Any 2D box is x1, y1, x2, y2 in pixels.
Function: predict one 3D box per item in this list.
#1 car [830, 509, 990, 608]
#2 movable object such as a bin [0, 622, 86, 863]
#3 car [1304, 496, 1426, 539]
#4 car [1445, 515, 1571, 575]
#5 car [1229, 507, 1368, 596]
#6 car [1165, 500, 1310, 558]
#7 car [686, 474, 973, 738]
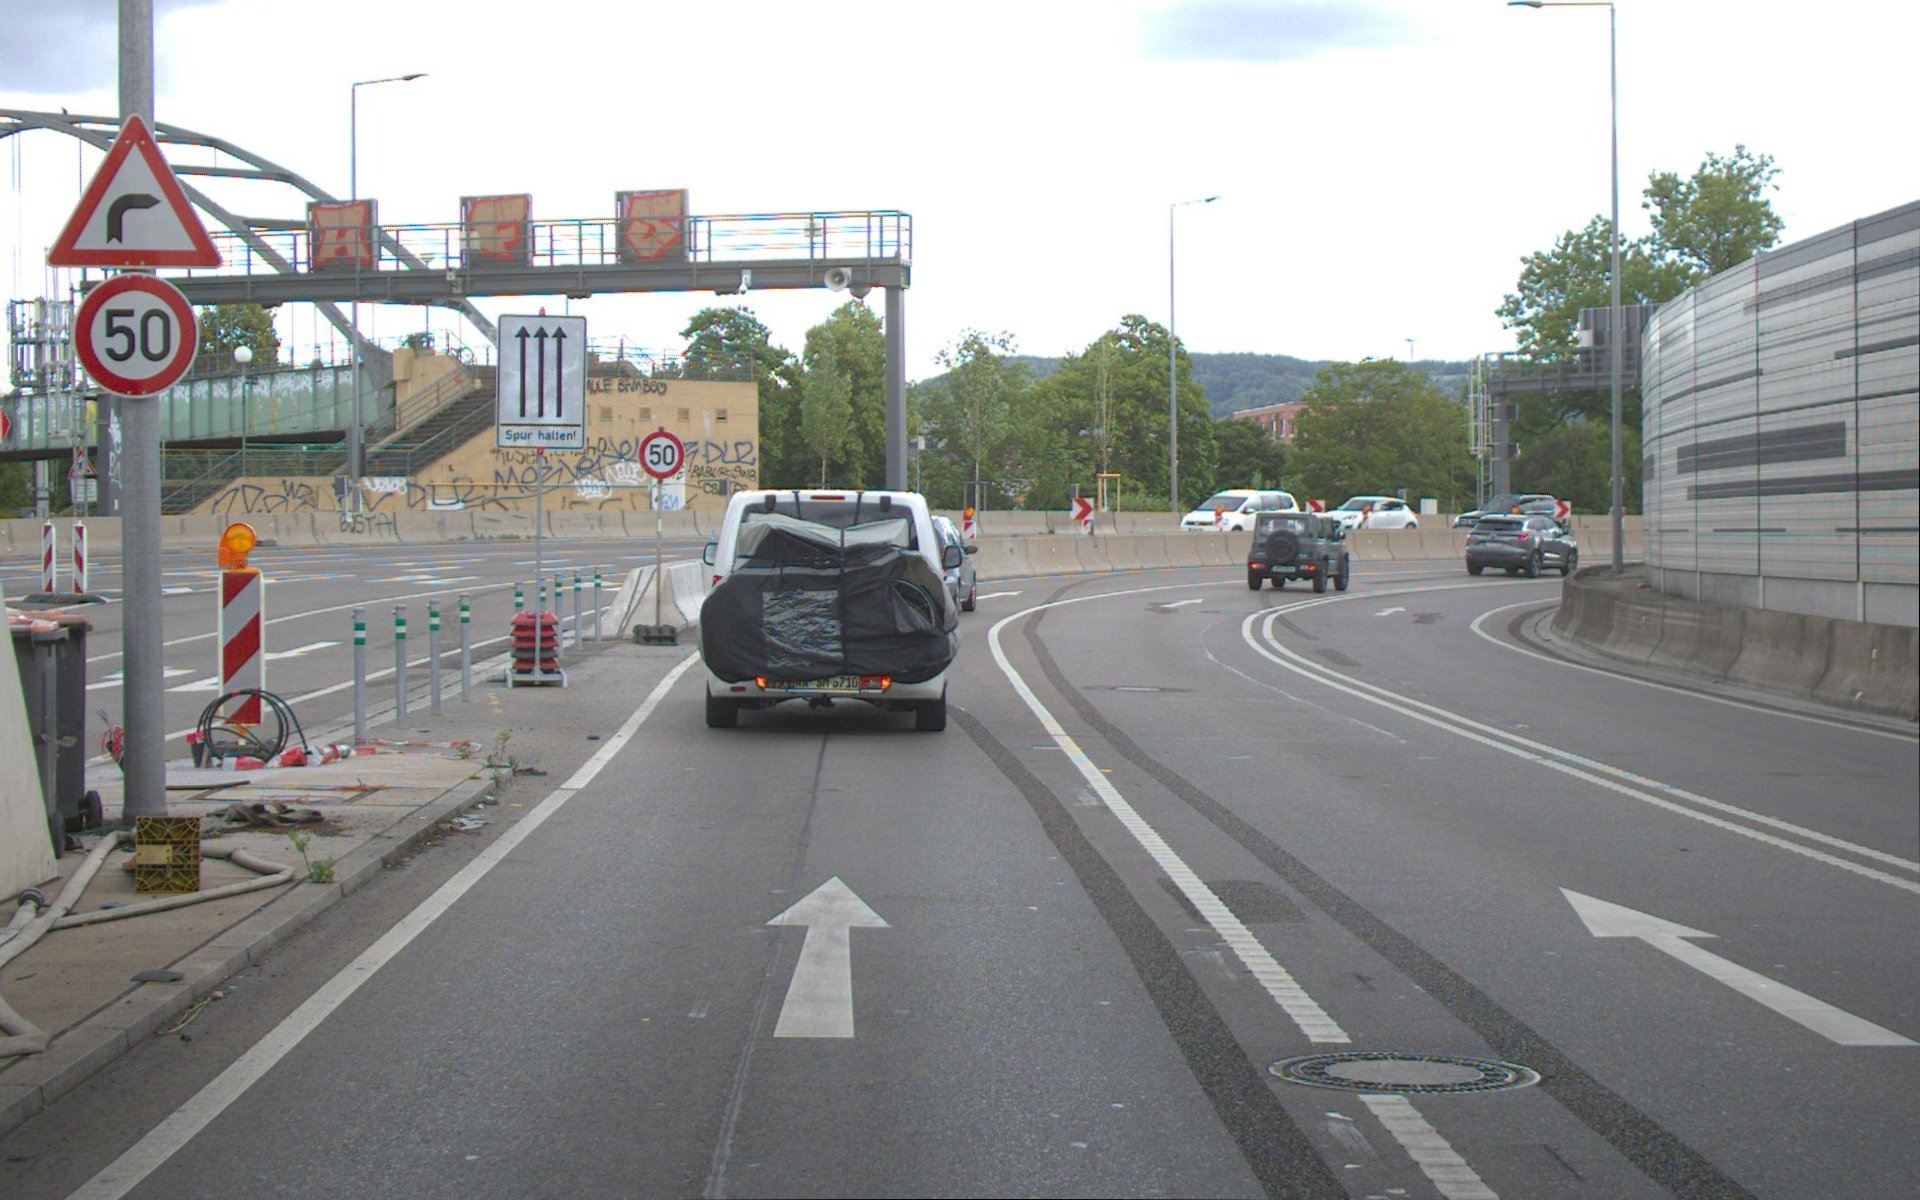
[{"bbox_3d":[-0.760,-0.694,55.118,1.921,1.483,4.064,1,2,8],"label":"car"},{"bbox_3d":[-4.113,0.605,14.868,0.552,1.005,0.547,1,1,-5],"label":"movable object such as a bin"},{"bbox_3d":[13.907,-2.820,117.967,4.132,1.429,1.765,-1,2,-40],"label":"car"},{"bbox_3d":[14.305,-1.456,89.609,2.015,1.483,4.059,1,2,28],"label":"car"},{"bbox_3d":[7.305,-1.049,73.873,1.996,1.853,3.996,1,1,20],"label":"car"},{"bbox_3d":[8.642,-2.201,106.677,1.954,1.744,5.263,1,2,37],"label":"car"},{"bbox_3d":[-1.156,0.004,27.384,1.992,1.853,5.642,1,1,-5],"label":"car"}]
